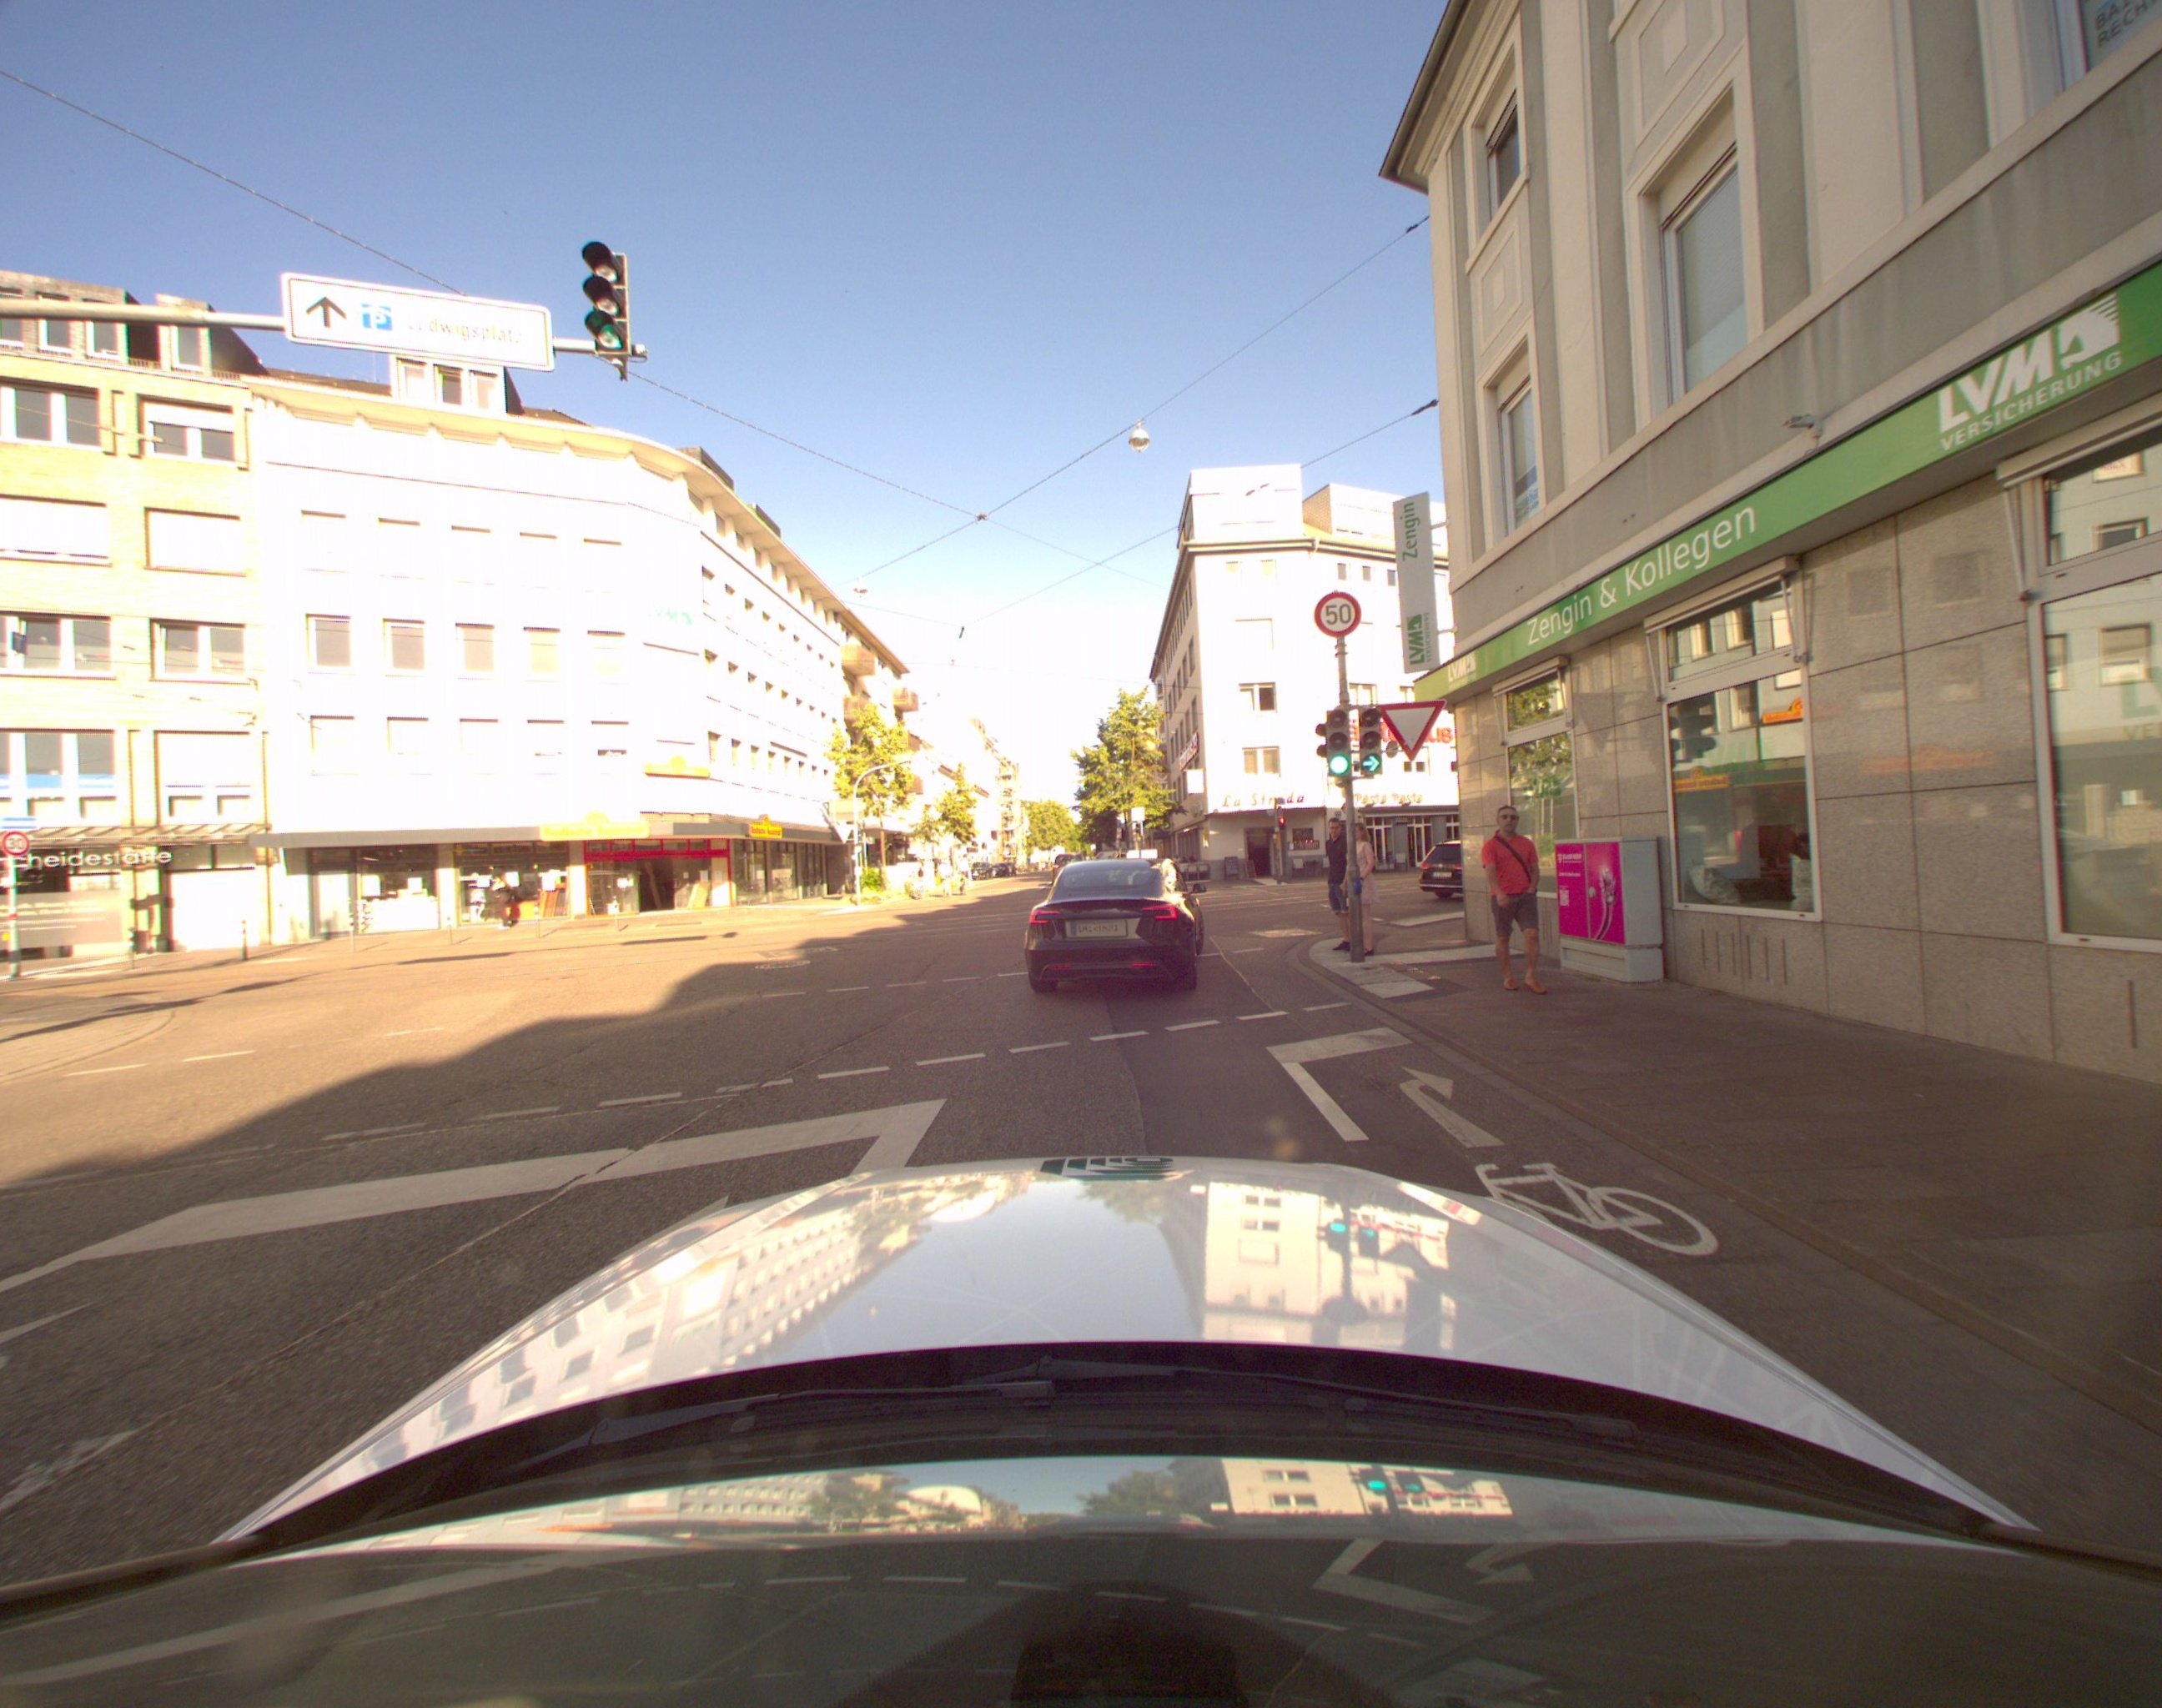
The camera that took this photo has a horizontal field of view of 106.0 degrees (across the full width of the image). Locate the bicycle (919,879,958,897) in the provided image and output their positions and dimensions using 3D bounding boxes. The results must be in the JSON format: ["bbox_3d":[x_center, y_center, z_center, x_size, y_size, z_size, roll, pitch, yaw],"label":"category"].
[{"bbox_3d":[-9.057,2.154,51.897,2.398,0.958,0.543,-3,-1,-12],"label":"bicycle"}]

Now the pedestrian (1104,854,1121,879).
[{"bbox_3d":[2.462,0.955,64.119,0.950,1.915,1.110,-4,-1,17],"label":"pedestrian"}]

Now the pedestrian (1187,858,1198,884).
[{"bbox_3d":[5.852,0.882,42.700,0.485,1.322,0.655,-3,-1,9],"label":"pedestrian"}]

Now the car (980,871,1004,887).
[{"bbox_3d":[-8.571,2.364,78.547,1.780,1.402,3.905,-3,-1,0],"label":"car"}]

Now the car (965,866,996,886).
[{"bbox_3d":[-8.748,1.872,70.975,1.985,1.598,4.003,-2,-1,3],"label":"car"}]

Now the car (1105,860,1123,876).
[{"bbox_3d":[3.928,1.627,97.652,1.986,1.824,4.002,-2,-1,2],"label":"car"}]

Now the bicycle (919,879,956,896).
[{"bbox_3d":[-9.015,2.109,51.178,2.221,0.958,0.653,-3,-1,-12],"label":"bicycle"}]

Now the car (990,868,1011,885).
[{"bbox_3d":[-8.277,2.294,83.778,1.712,1.610,3.597,-3,-1,1],"label":"car"}]

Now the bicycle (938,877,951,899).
[{"bbox_3d":[-6.271,1.553,37.419,0.552,0.968,1.788,-3,-1,-10],"label":"bicycle"}]

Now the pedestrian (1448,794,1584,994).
[{"bbox_3d":[4.005,0.352,7.573,0.687,1.703,0.913,-4,-1,2],"label":"pedestrian"}]

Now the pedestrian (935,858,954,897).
[{"bbox_3d":[-6.308,1.084,37.739,0.779,1.728,0.557,-2,-1,-14],"label":"pedestrian"}]

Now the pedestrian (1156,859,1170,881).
[{"bbox_3d":[5.309,1.017,52.536,0.707,1.347,1.059,-3,-1,-2],"label":"pedestrian"}]

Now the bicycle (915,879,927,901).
[{"bbox_3d":[-7.252,1.609,36.909,0.480,0.955,1.449,-3,-1,-13],"label":"bicycle"}]

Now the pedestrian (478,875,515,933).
[{"bbox_3d":[-17.921,1.512,24.971,0.557,1.709,0.712,-3,-1,-2],"label":"pedestrian"}]

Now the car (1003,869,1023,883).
[{"bbox_3d":[-7.408,2.405,88.617,1.780,1.402,3.905,-3,-1,0],"label":"car"}]

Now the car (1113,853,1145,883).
[{"bbox_3d":[3.156,0.900,54.068,1.897,1.852,4.289,-3,-1,1],"label":"car"}]

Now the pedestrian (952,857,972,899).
[{"bbox_3d":[-5.508,1.089,37.674,0.779,1.866,0.997,-3,-1,-13],"label":"pedestrian"}]

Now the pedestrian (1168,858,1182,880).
[{"bbox_3d":[6.092,0.974,52.685,0.728,1.360,0.959,-3,-1,1],"label":"pedestrian"}]

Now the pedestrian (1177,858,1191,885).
[{"bbox_3d":[5.281,0.902,41.928,0.584,1.313,0.560,-3,-1,1],"label":"pedestrian"}]

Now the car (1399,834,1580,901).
[{"bbox_3d":[9.924,0.297,19.719,4.367,1.419,1.751,-2,-1,-29],"label":"car"}]

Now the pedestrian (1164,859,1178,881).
[{"bbox_3d":[5.681,0.987,51.421,0.728,1.347,1.059,-3,-1,-1],"label":"pedestrian"}]

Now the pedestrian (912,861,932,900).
[{"bbox_3d":[-7.149,1.172,36.586,0.791,1.712,0.651,-2,-1,-14],"label":"pedestrian"}]

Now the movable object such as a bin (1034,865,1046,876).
[{"bbox_3d":[-5.522,2.164,109.197,1.312,1.407,1.064,-3,-1,-16],"label":"movable object such as a bin"}]

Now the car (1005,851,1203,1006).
[{"bbox_3d":[0.510,0.726,10.083,1.859,1.427,4.374,-3,0,8],"label":"car"}]

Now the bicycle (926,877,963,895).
[{"bbox_3d":[-9.043,2.122,54.064,2.397,1.006,0.653,-3,-1,-10],"label":"bicycle"}]

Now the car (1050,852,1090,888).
[{"bbox_3d":[-0.538,0.814,43.165,1.897,1.733,4.289,-3,-1,1],"label":"car"}]

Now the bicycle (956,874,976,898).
[{"bbox_3d":[-5.342,1.476,37.679,0.758,1.007,1.719,-6,0,-10],"label":"bicycle"}]

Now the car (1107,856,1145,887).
[{"bbox_3d":[2.593,1.011,47.643,1.993,1.636,4.289,-3,-1,1],"label":"car"}]

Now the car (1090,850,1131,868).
[{"bbox_3d":[3.933,0.685,109.385,5.374,2.145,2.000,-3,-1,0],"label":"car"}]

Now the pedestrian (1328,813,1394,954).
[{"bbox_3d":[3.638,0.375,10.612,0.570,1.759,0.649,-2,-1,1],"label":"pedestrian"}]

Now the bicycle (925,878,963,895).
[{"bbox_3d":[-8.927,2.108,53.229,2.389,0.978,0.654,-3,-1,-10],"label":"bicycle"}]

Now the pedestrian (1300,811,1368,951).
[{"bbox_3d":[3.470,0.365,11.206,0.637,1.842,0.681,-3,-1,1],"label":"pedestrian"}]
